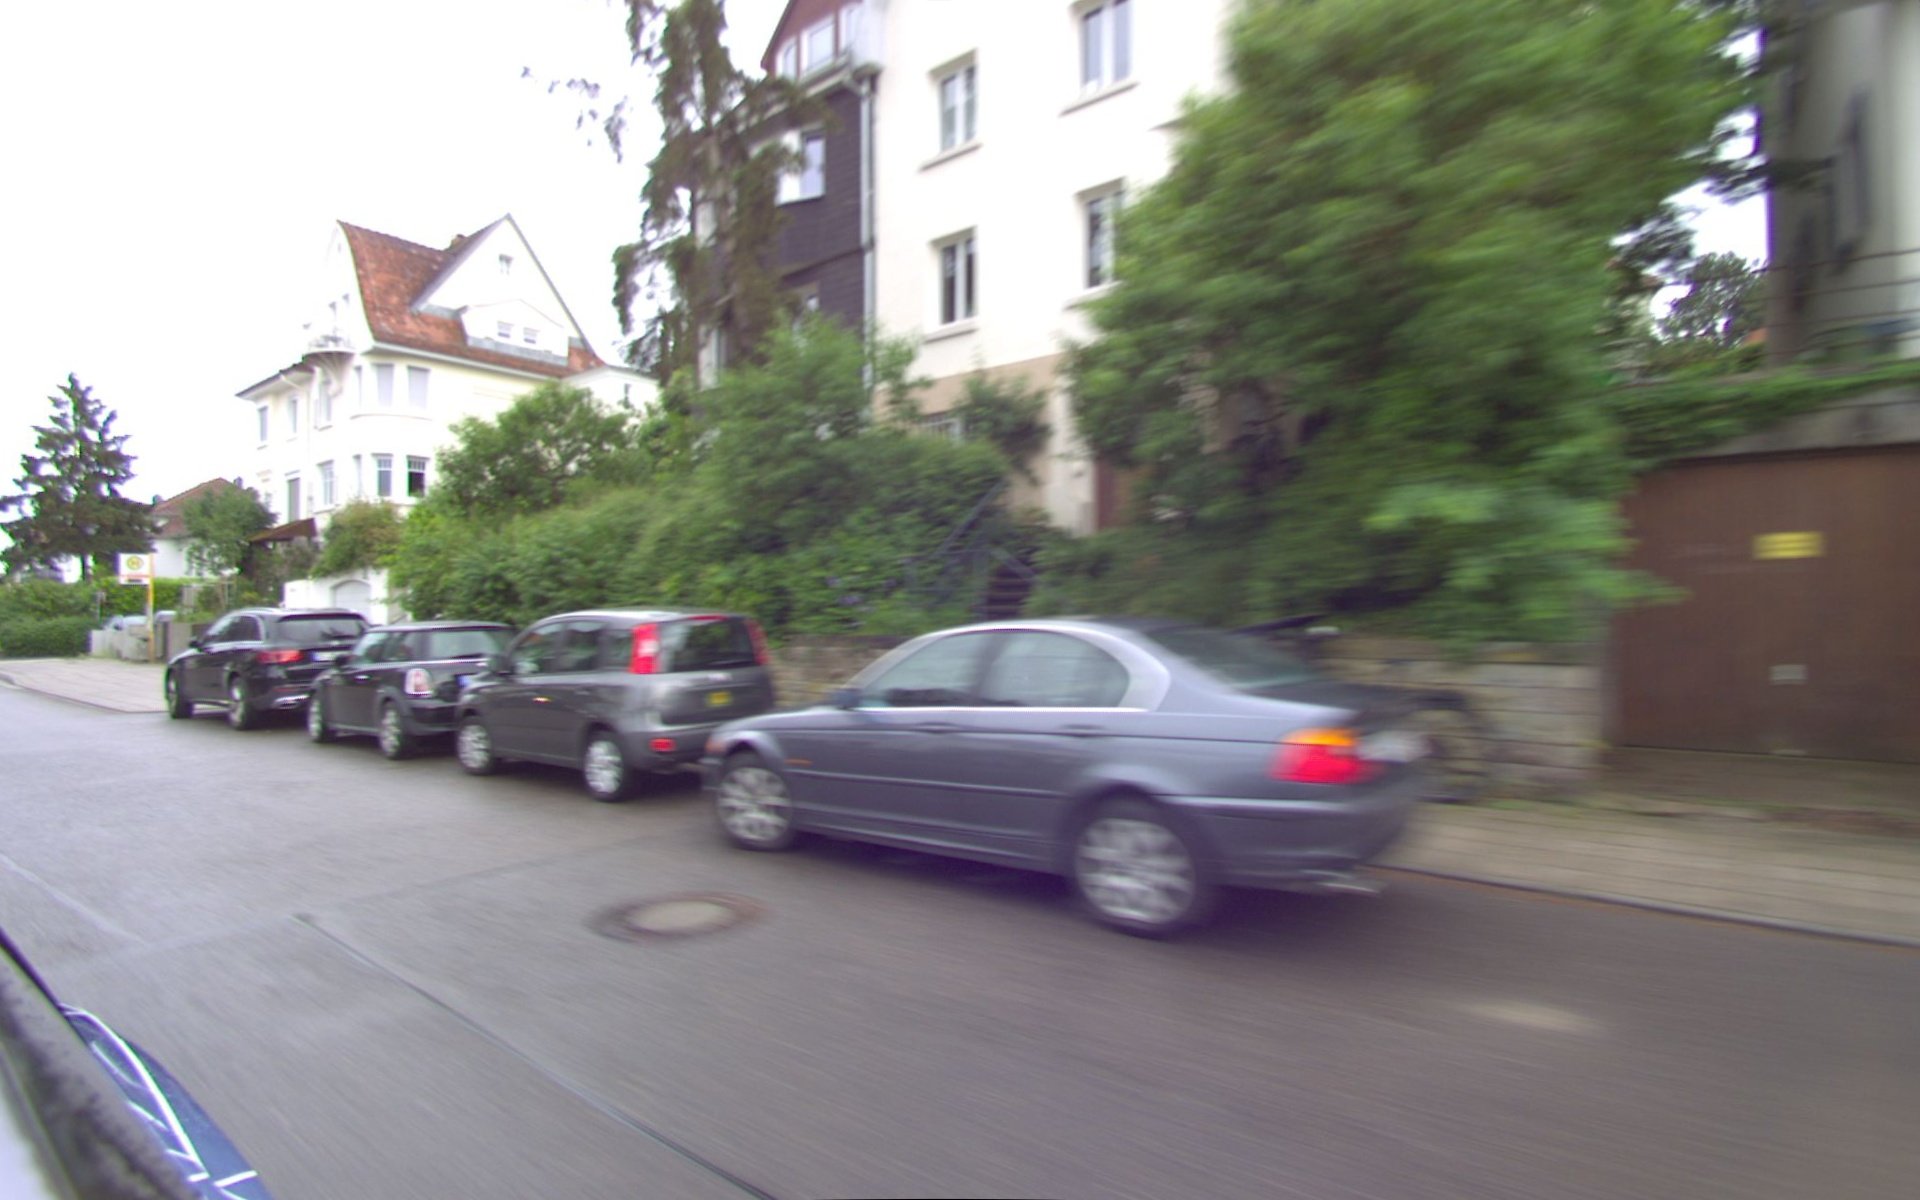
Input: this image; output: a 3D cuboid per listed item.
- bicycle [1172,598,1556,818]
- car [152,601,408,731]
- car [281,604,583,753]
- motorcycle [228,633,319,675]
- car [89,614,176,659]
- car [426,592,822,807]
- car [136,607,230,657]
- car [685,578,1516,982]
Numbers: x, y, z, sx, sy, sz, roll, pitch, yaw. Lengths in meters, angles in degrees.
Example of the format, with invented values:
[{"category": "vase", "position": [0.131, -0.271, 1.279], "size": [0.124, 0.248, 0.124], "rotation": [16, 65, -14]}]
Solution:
[{"category": "bicycle", "position": [2.798, 0.702, 7.187], "size": [2.289, 1.311, 0.993], "rotation": [-4, -2, 41]}, {"category": "car", "position": [-10.124, 0.886, 14.953], "size": [4.372, 1.635, 1.875], "rotation": [-2, -1, 38]}, {"category": "car", "position": [-6.315, 0.871, 11.950], "size": [3.811, 1.458, 1.874], "rotation": [-4, -2, 41]}, {"category": "motorcycle", "position": [-17.370, 1.346, 25.641], "size": [0.603, 0.910, 1.776], "rotation": [-2, 1, 40]}, {"category": "car", "position": [-32.721, 1.452, 39.990], "size": [3.992, 1.630, 1.750], "rotation": [-4, -2, 37]}, {"category": "car", "position": [-3.171, 0.755, 9.203], "size": [3.810, 1.553, 1.679], "rotation": [-2, -1, 40]}, {"category": "car", "position": [-29.086, 1.208, 37.854], "size": [3.992, 1.709, 1.749], "rotation": [-4, -2, 37]}, {"category": "car", "position": [0.483, 0.755, 5.768], "size": [4.412, 1.458, 1.738], "rotation": [-4, -2, 40]}]
